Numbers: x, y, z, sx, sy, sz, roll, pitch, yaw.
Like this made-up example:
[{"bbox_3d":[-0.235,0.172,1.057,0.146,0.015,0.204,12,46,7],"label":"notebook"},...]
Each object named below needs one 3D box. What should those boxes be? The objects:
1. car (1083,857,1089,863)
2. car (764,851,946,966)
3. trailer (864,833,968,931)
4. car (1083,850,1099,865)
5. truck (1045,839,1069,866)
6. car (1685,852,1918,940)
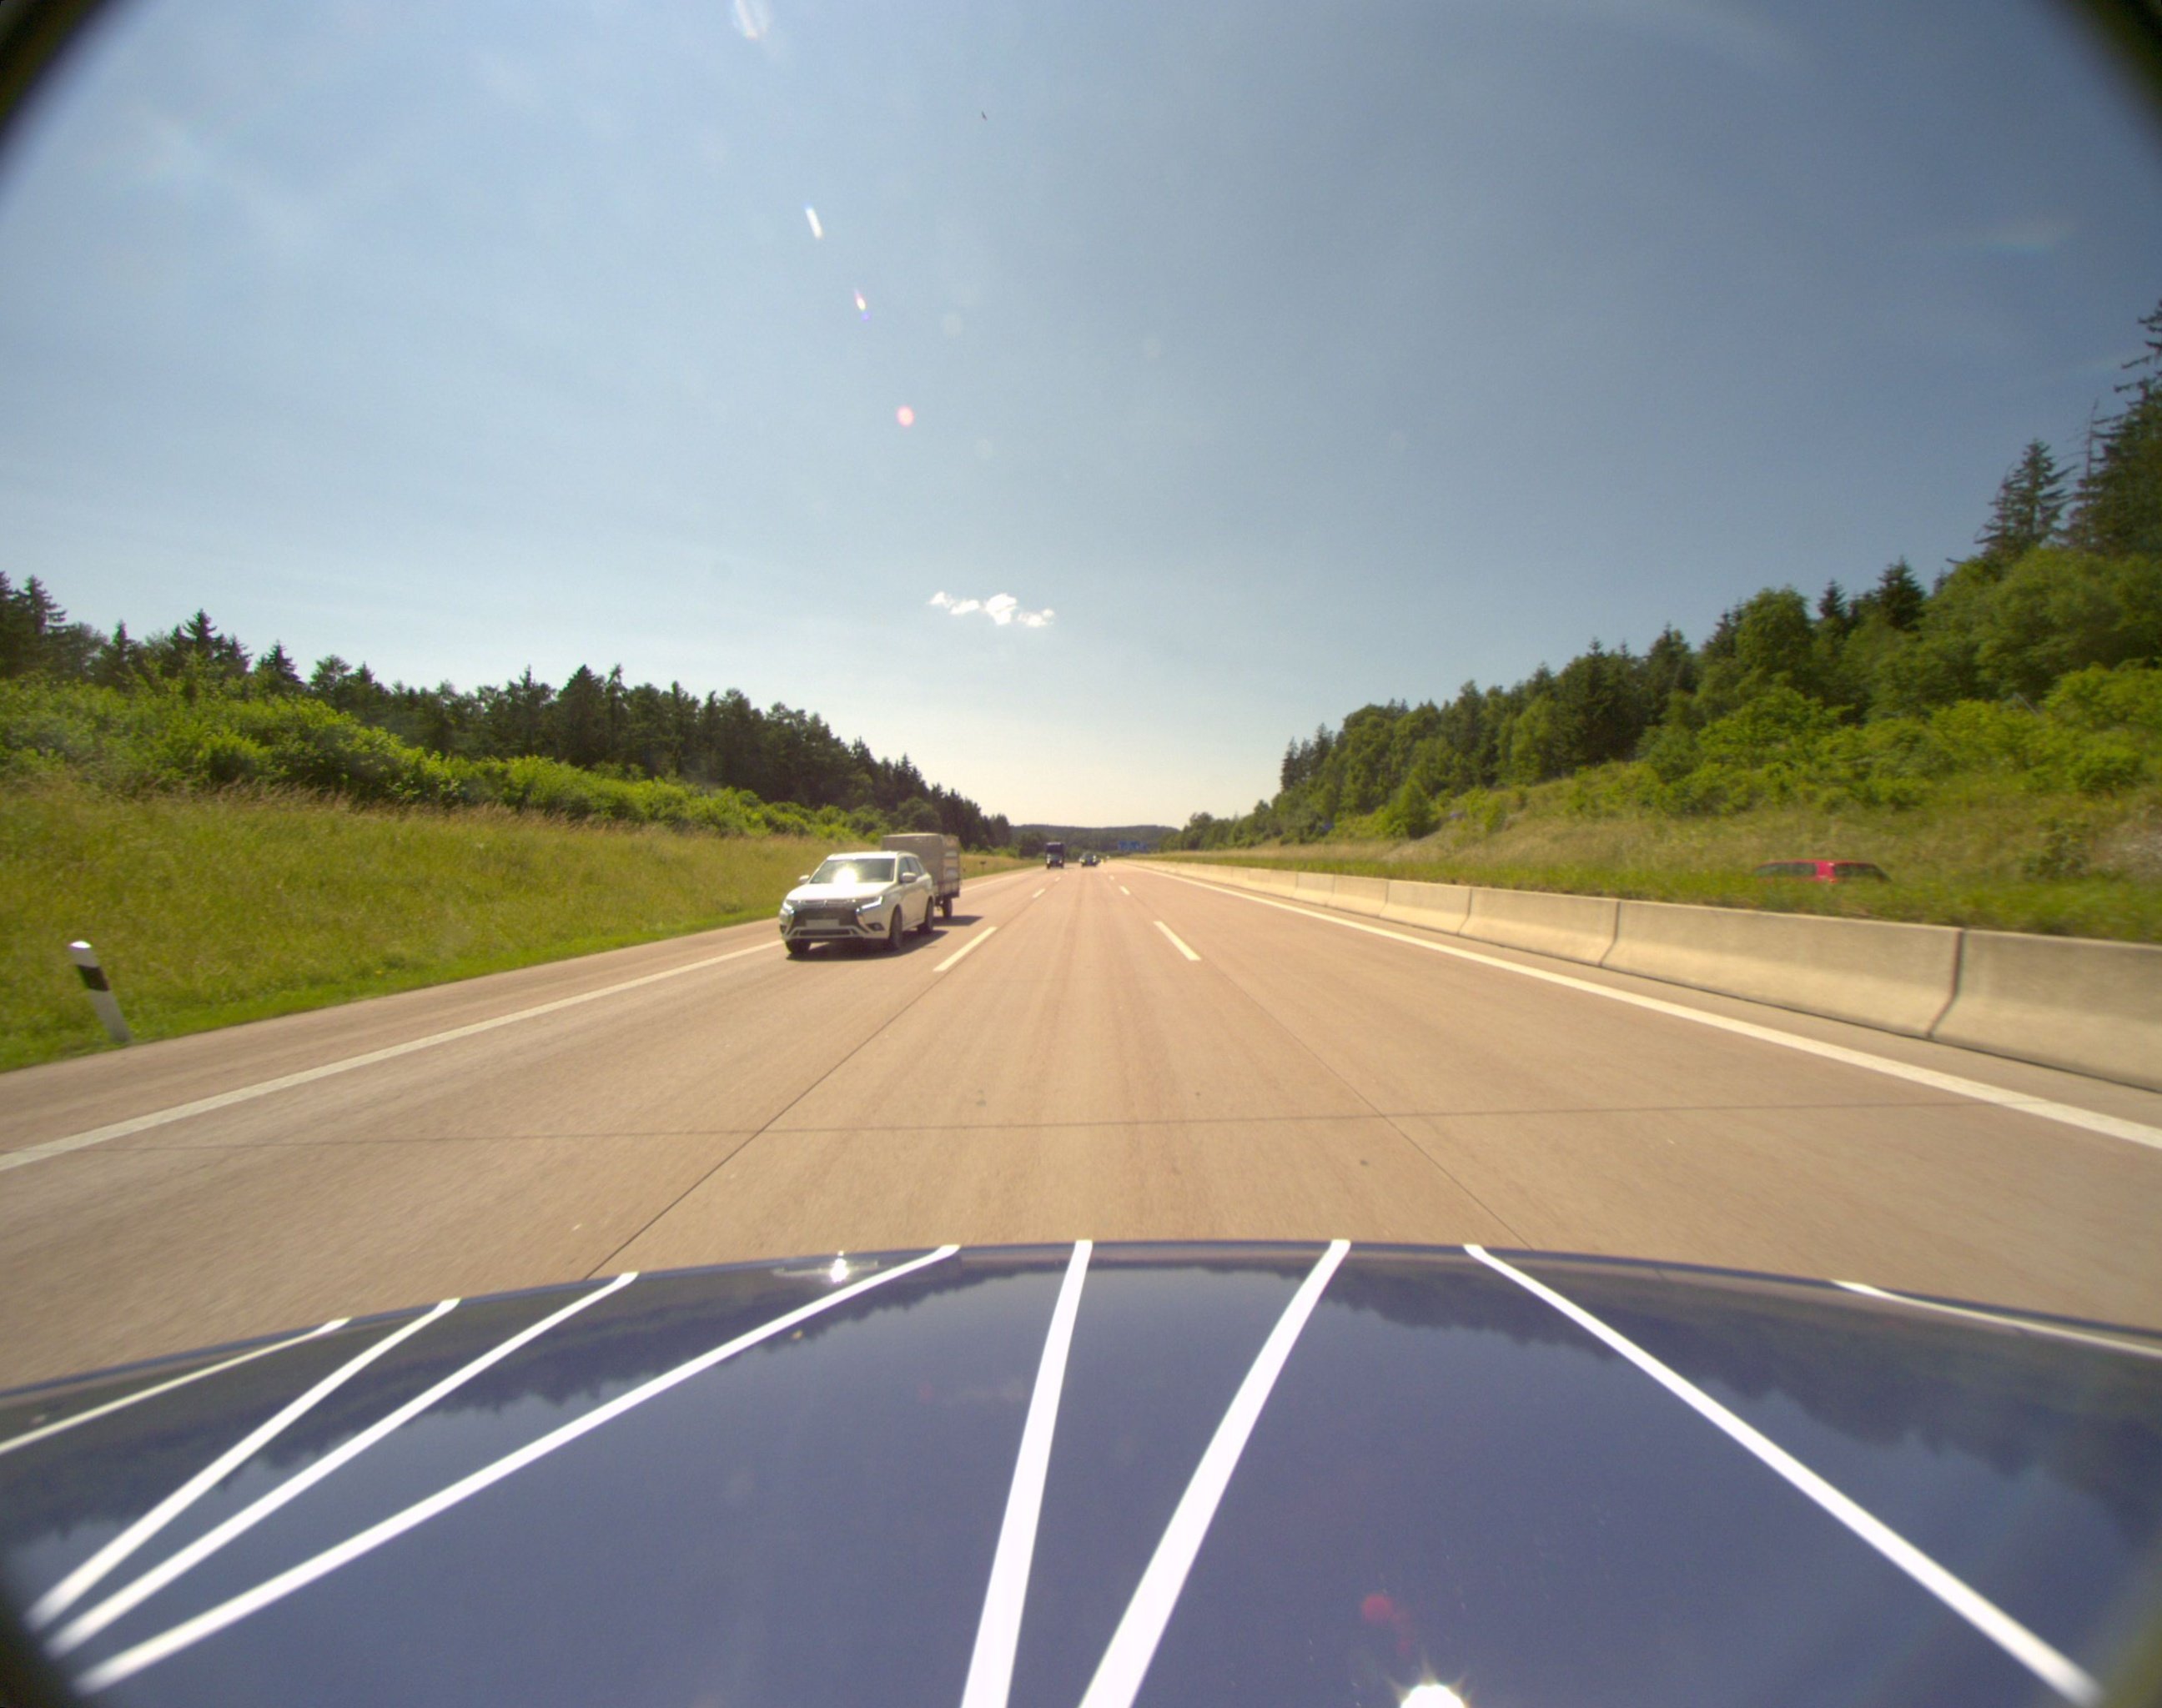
[{"bbox_3d":[1.577,1.848,242.816,1.998,2.002,4.000,-2,0,1],"label":"car"},{"bbox_3d":[-3.946,0.828,14.319,1.896,1.718,5.185,-2,0,-1],"label":"car"},{"bbox_3d":[-3.962,0.616,18.889,1.662,2.151,4.015,-2,0,0],"label":"trailer"},{"bbox_3d":[1.332,0.445,100.088,1.998,1.805,4.565,-2,0,3],"label":"car"},{"bbox_3d":[-2.928,-0.163,95.677,2.508,3.199,7.785,-1,0,2],"label":"truck"},{"bbox_3d":[19.358,1.020,20.782,1.896,2.052,4.662,-2,0,-1],"label":"car"}]
